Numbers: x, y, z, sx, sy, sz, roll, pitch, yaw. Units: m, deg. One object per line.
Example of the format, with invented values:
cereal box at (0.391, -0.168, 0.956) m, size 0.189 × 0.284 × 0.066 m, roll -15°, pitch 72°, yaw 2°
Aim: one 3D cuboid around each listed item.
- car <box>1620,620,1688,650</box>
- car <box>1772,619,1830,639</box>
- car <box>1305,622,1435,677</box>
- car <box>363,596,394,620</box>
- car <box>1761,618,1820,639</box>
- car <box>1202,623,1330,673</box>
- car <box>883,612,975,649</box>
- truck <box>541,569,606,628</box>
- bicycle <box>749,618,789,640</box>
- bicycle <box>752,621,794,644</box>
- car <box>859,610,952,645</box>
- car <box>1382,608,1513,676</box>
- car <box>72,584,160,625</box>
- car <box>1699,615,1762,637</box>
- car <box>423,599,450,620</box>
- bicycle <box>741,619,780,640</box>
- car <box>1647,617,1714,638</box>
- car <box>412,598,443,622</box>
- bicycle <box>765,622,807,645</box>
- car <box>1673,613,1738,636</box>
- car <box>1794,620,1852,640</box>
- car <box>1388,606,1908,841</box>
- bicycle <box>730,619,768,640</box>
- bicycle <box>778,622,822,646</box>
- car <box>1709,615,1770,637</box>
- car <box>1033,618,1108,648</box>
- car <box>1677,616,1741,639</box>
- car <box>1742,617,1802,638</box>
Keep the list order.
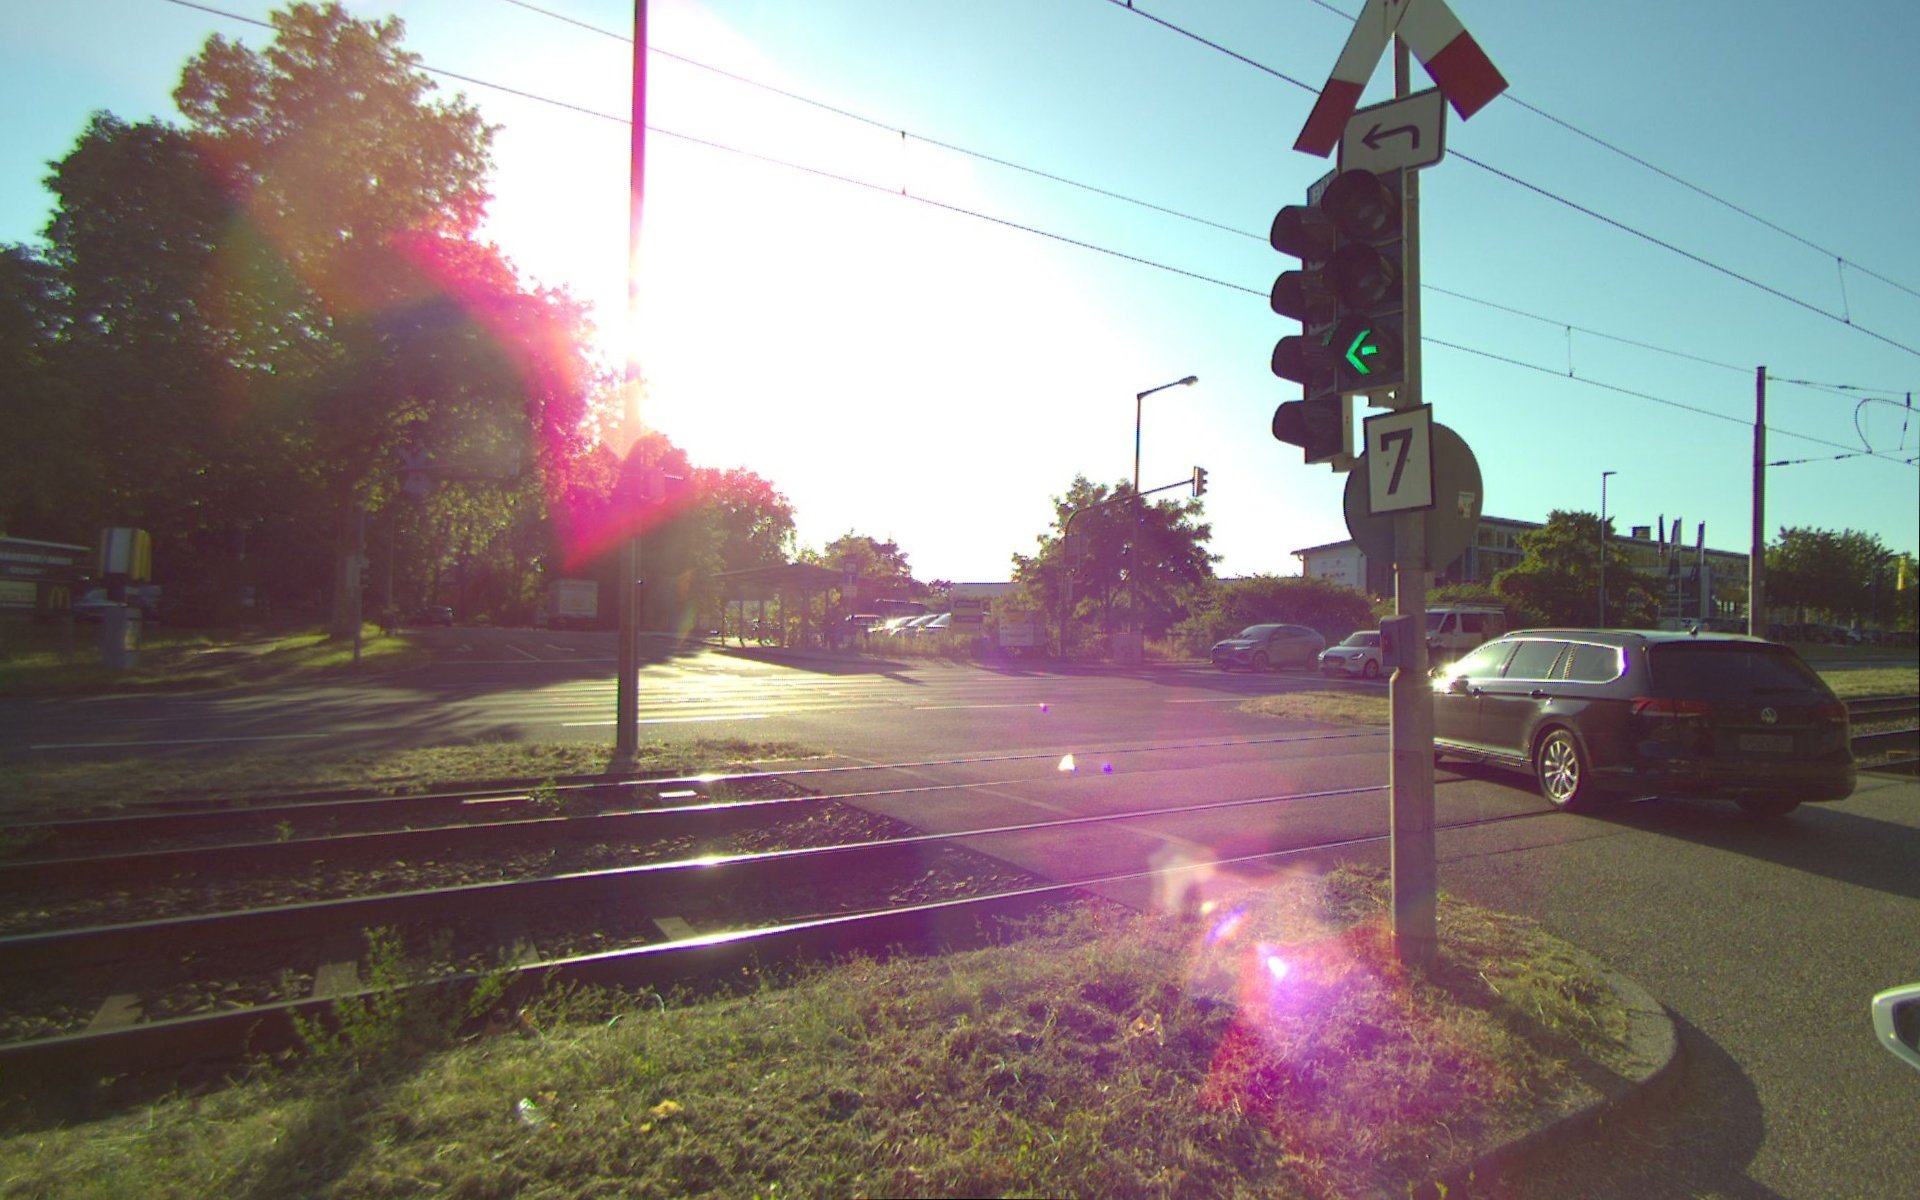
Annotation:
car at (48.405, 2.432, 70.121) m, size 3.743 × 1.884 × 1.751 m, roll 1°, pitch -1°, yaw 41°
car at (71.511, 2.472, 85.441) m, size 3.743 × 1.588 × 1.751 m, roll 1°, pitch -1°, yaw 41°
car at (13.382, 1.607, 32.770) m, size 3.952 × 1.639 × 1.862 m, roll 2°, pitch -1°, yaw -29°
car at (-41.552, 0.549, 71.842) m, size 1.829 × 1.572 × 3.969 m, roll 2°, pitch -1°, yaw -29°
car at (69.256, 2.379, 83.805) m, size 3.743 × 1.588 × 1.751 m, roll 1°, pitch -1°, yaw 41°
car at (10.981, 1.709, 35.976) m, size 4.497 × 1.639 × 1.860 m, roll 2°, pitch -1°, yaw -32°
car at (-1.493, 1.472, 48.875) m, size 3.956 × 1.670 × 2.102 m, roll 2°, pitch -1°, yaw -32°
truck at (-28.528, -0.135, 73.808) m, size 3.155 × 3.927 × 11.019 m, roll 2°, pitch -1°, yaw -27°
bicycle at (-9.454, 1.441, 49.721) m, size 1.869 × 1.052 × 0.540 m, roll 2°, pitch 0°, yaw -27°
bicycle at (-8.957, 1.562, 48.088) m, size 1.871 × 1.052 × 0.540 m, roll 2°, pitch 0°, yaw -30°
car at (-2.777, 1.420, 51.582) m, size 4.273 × 1.670 × 2.102 m, roll 2°, pitch -1°, yaw -32°
car at (20.171, 1.736, 41.497) m, size 5.808 × 2.600 × 1.993 m, roll 2°, pitch -1°, yaw -31°
car at (-35.285, 0.178, 42.103) m, size 2.020 × 1.595 × 4.367 m, roll 2°, pitch -1°, yaw -30°
car at (59.249, 1.977, 77.245) m, size 3.743 × 1.588 × 1.751 m, roll 1°, pitch -1°, yaw 41°
car at (-43.263, 0.780, 82.998) m, size 1.829 × 1.572 × 3.969 m, roll 2°, pitch -1°, yaw -29°
bicycle at (-10.098, 1.504, 50.900) m, size 1.869 × 1.052 × 0.540 m, roll 2°, pitch 0°, yaw -27°
car at (51.416, 1.949, 71.704) m, size 3.743 × 1.407 × 1.751 m, roll 1°, pitch -1°, yaw 41°
car at (-38.271, 0.705, 72.149) m, size 1.829 × 1.572 × 3.969 m, roll 2°, pitch -1°, yaw -29°
bicycle at (-8.228, 1.596, 47.507) m, size 1.871 × 1.052 × 0.540 m, roll 2°, pitch 0°, yaw -30°
car at (54.944, 1.799, 74.042) m, size 3.743 × 1.588 × 1.751 m, roll 1°, pitch -1°, yaw 41°
car at (74.566, 2.587, 86.806) m, size 3.743 × 1.588 × 1.751 m, roll 1°, pitch -1°, yaw 41°
car at (5.693, 0.881, 9.117) m, size 1.794 × 1.576 × 4.259 m, roll 2°, pitch -1°, yaw 0°
bicycle at (-10.974, 1.540, 52.231) m, size 1.869 × 1.052 × 0.540 m, roll 2°, pitch 0°, yaw -27°
bicycle at (-7.219, 1.540, 45.431) m, size 1.871 × 1.052 × 0.540 m, roll 2°, pitch 0°, yaw -30°
car at (61.374, 2.068, 79.125) m, size 3.743 × 1.588 × 1.751 m, roll 1°, pitch -1°, yaw 41°
car at (6.643, 1.963, 60.357) m, size 3.942 × 1.658 × 2.109 m, roll 2°, pitch -1°, yaw -22°
car at (56.411, 2.064, 75.679) m, size 3.743 × 1.588 × 1.751 m, roll 1°, pitch -1°, yaw 41°
car at (66.364, 2.265, 82.118) m, size 3.743 × 1.588 × 1.751 m, roll 1°, pitch -1°, yaw 41°
